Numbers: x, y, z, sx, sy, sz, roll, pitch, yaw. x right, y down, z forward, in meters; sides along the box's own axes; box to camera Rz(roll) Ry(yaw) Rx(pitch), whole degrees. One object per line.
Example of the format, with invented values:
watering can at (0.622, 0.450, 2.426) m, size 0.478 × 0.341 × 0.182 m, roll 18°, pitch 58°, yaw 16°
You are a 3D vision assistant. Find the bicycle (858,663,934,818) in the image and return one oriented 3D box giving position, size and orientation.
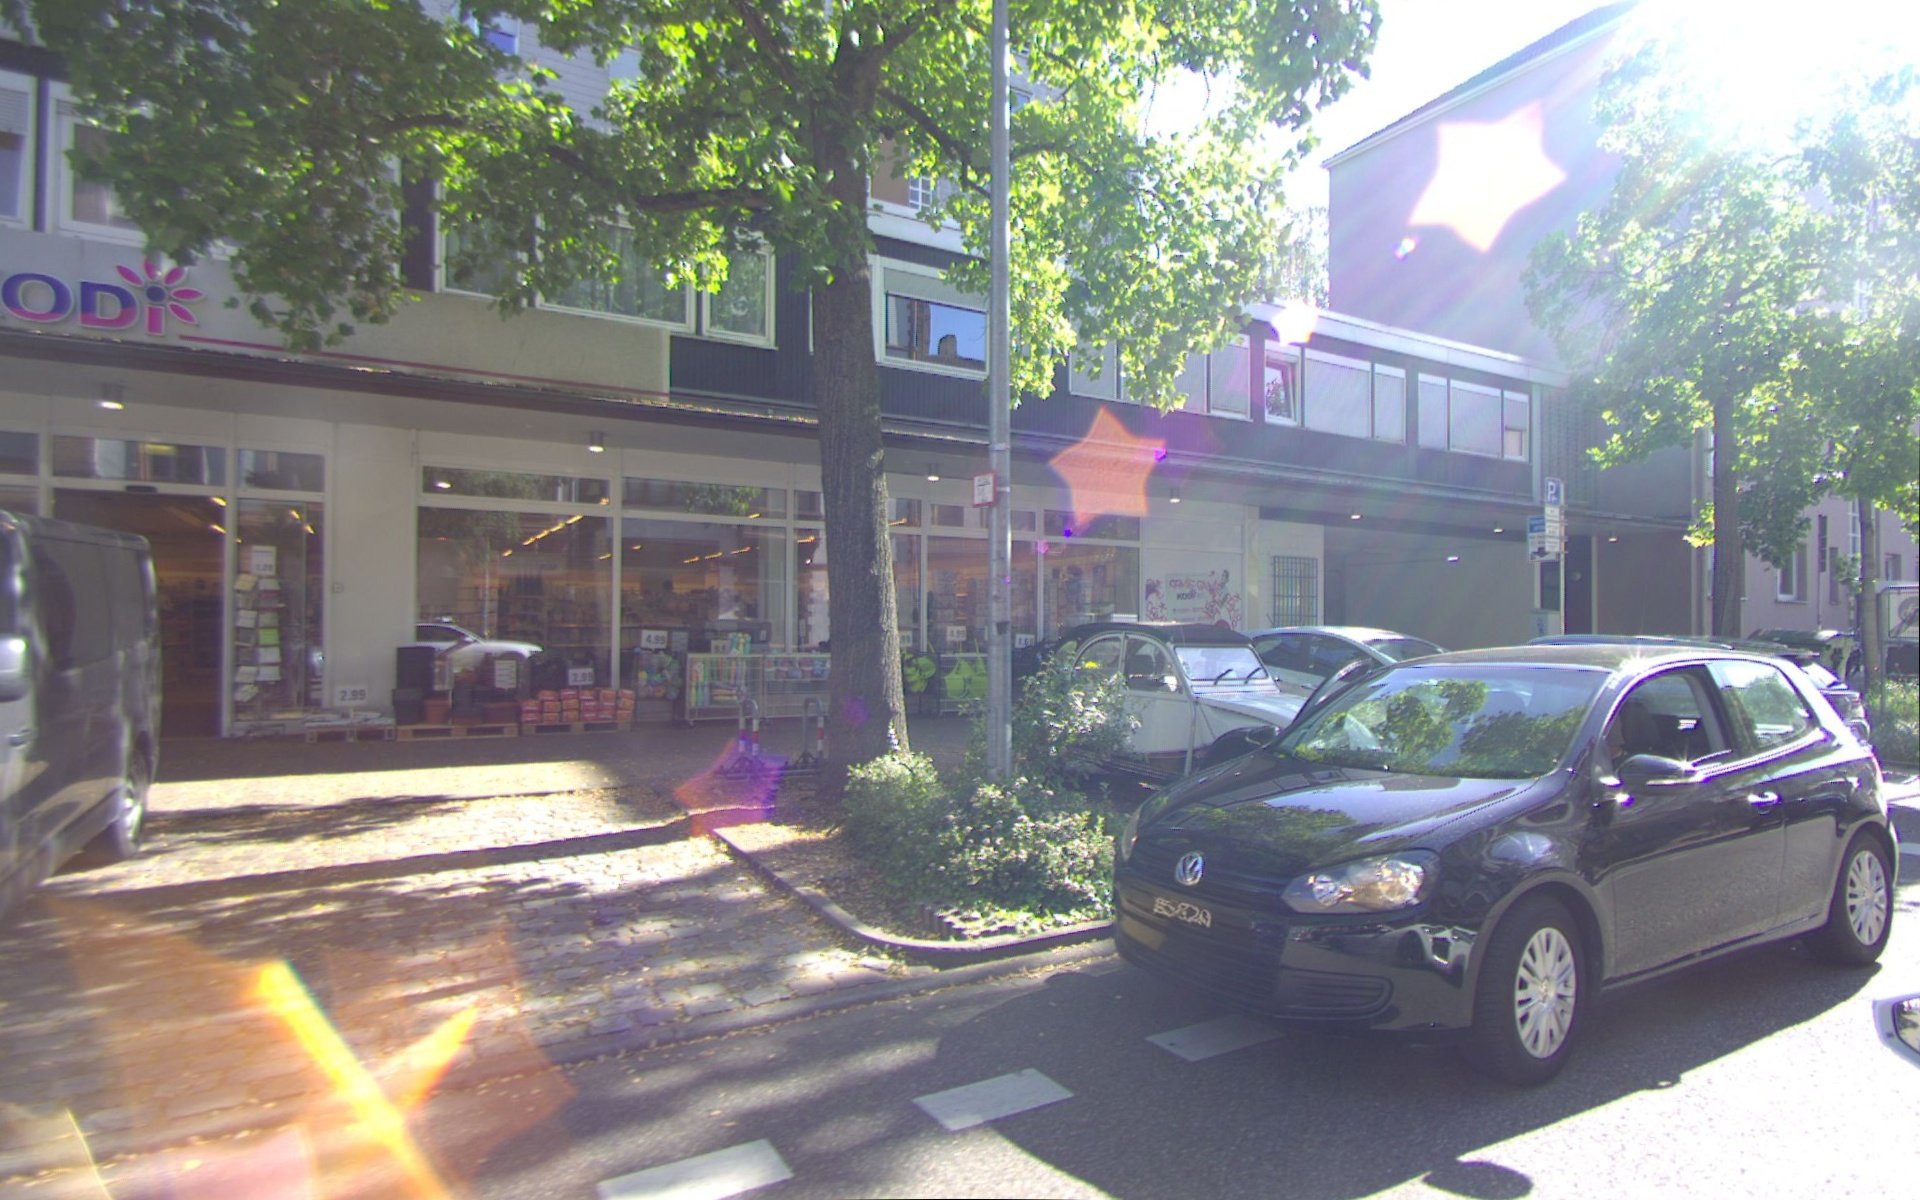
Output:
bicycle at (-0.605, 1.241, 9.434) m, size 0.616 × 1.200 × 1.986 m, roll 1°, pitch -1°, yaw -4°

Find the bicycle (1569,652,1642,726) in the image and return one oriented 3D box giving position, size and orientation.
bicycle at (10.120, 1.376, 15.744) m, size 1.329 × 1.092 × 0.463 m, roll 1°, pitch -2°, yaw -34°

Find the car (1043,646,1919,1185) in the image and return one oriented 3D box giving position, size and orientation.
car at (2.482, 0.958, 4.554) m, size 3.914 × 1.457 × 1.755 m, roll 1°, pitch -3°, yaw -31°

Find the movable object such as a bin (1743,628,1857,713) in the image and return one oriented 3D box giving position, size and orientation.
movable object such as a bin at (15.287, 1.251, 18.299) m, size 1.060 × 1.469 × 1.228 m, roll 1°, pitch -2°, yaw -22°

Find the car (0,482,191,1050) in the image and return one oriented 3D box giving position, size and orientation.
car at (-4.823, 0.593, 4.066) m, size 1.991 × 2.000 × 5.268 m, roll 1°, pitch -1°, yaw -30°

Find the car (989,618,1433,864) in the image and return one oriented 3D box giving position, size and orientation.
car at (1.867, 0.956, 8.482) m, size 1.664 × 1.572 × 3.582 m, roll 1°, pitch -1°, yaw -29°

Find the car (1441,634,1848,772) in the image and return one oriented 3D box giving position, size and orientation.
car at (8.911, 1.224, 13.509) m, size 1.624 × 1.452 × 4.285 m, roll 1°, pitch -1°, yaw -29°

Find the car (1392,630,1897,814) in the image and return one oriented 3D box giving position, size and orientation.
car at (7.141, 1.131, 11.025) m, size 1.740 × 1.479 × 4.288 m, roll 1°, pitch 0°, yaw -27°

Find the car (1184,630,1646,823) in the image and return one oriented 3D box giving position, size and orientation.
car at (4.355, 1.079, 10.210) m, size 1.793 × 1.483 × 3.964 m, roll 1°, pitch -1°, yaw -33°

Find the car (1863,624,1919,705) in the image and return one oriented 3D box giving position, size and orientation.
car at (21.424, 1.349, 21.509) m, size 4.313 × 1.627 × 1.868 m, roll 1°, pitch 0°, yaw -30°

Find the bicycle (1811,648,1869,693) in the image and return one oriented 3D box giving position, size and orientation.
bicycle at (22.729, 1.808, 25.939) m, size 1.881 × 1.116 × 0.552 m, roll 1°, pitch -2°, yaw -31°
